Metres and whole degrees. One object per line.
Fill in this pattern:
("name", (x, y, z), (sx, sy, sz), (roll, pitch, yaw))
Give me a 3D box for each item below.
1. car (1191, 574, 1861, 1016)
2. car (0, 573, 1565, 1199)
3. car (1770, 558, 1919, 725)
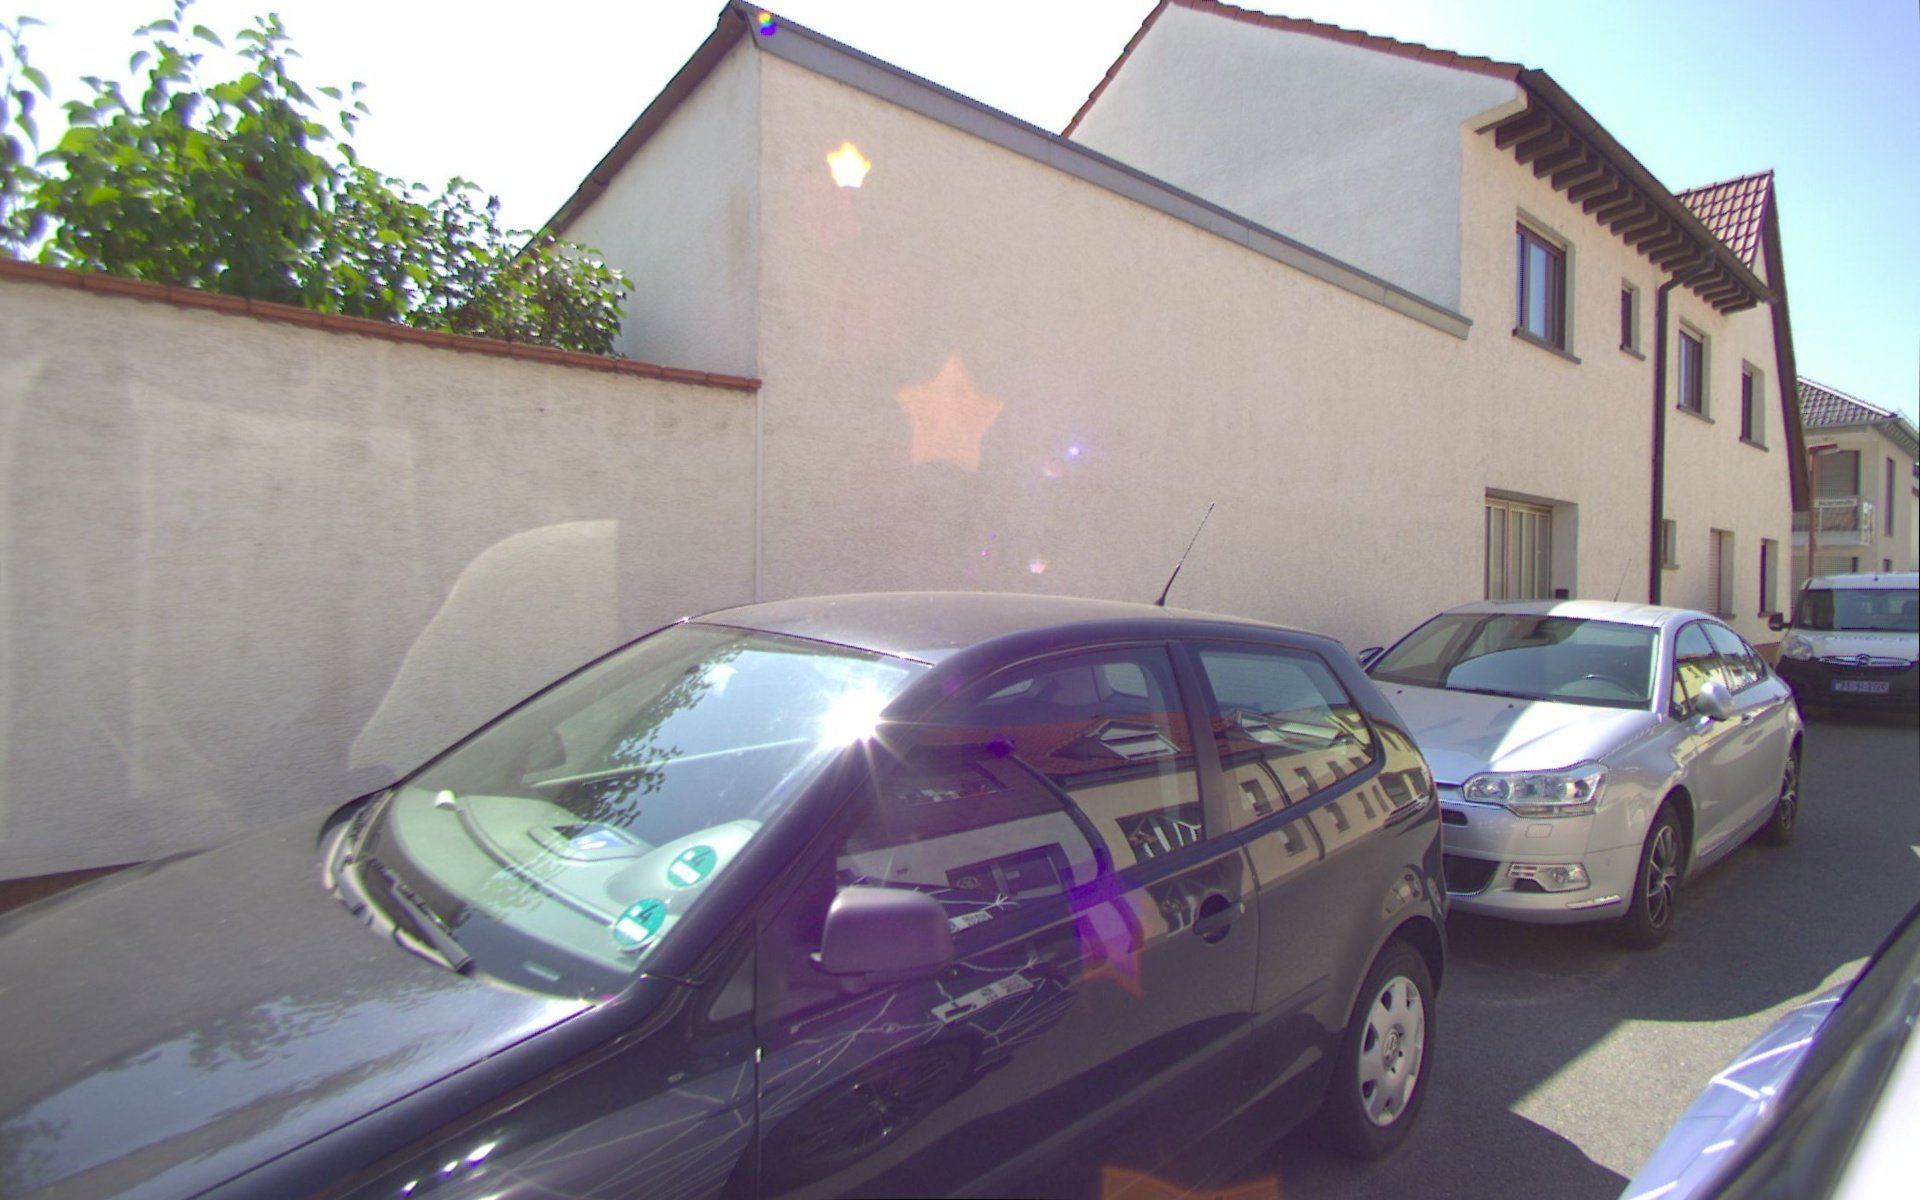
("car", (3.554, 0.648, 5.832), (4.847, 1.499, 1.795), (-1, 3, -41))
("car", (-0.078, 0.680, 2.568), (4.064, 1.454, 1.651), (-1, 2, -42))
("car", (12.085, 0.440, 13.122), (4.769, 1.848, 1.811), (-1, 0, -43))
